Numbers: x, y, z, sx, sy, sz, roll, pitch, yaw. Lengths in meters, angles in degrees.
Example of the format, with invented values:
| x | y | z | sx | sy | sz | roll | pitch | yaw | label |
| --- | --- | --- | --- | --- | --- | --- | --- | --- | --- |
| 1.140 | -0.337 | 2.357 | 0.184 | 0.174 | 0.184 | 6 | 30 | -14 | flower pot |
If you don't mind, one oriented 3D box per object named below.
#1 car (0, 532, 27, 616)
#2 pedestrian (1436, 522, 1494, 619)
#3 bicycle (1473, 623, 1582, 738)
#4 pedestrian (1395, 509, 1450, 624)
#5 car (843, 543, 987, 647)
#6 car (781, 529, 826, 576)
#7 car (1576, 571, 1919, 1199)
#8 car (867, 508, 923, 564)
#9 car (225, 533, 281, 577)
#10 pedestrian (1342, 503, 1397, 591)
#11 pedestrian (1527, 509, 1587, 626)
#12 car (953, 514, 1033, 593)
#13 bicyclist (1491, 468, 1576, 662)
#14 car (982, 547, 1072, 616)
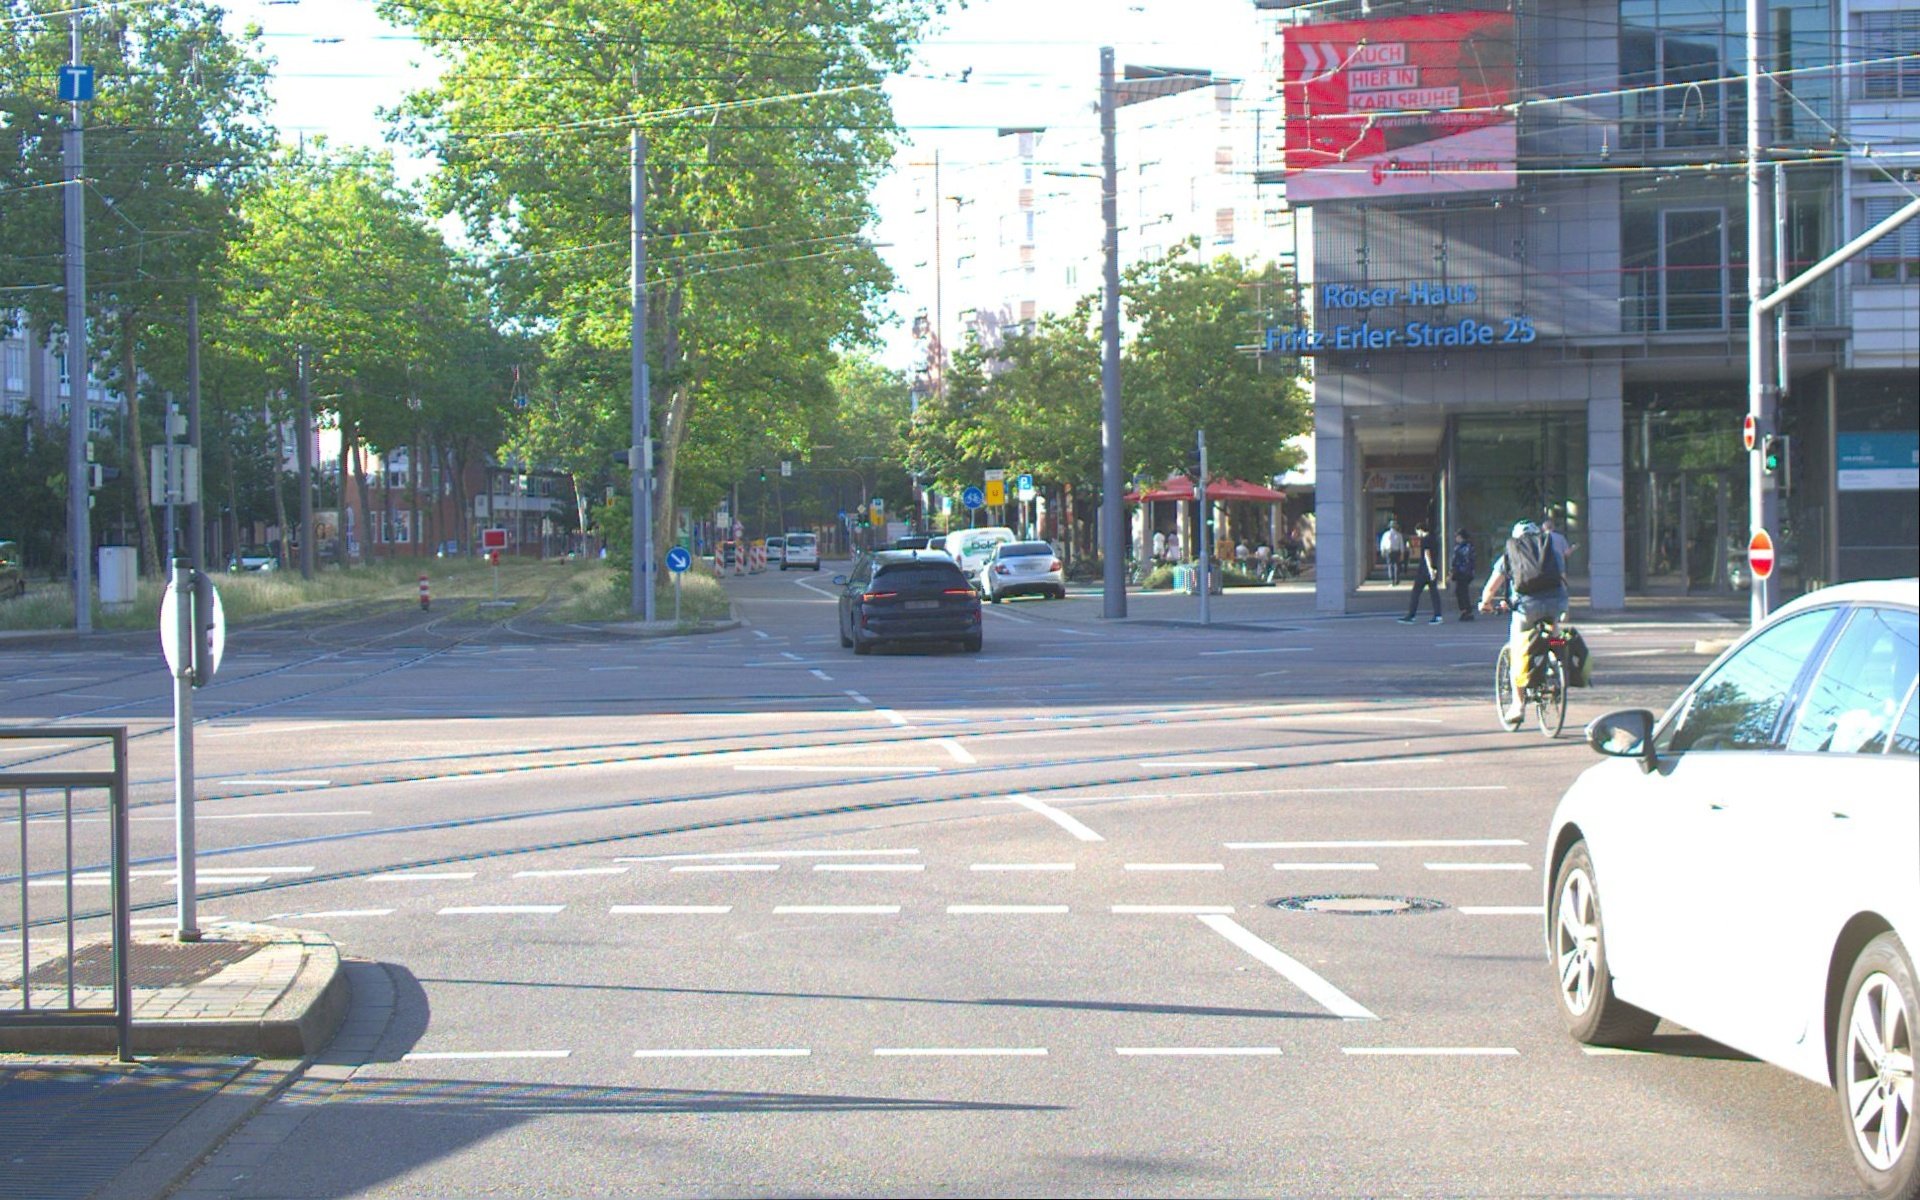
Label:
| x | y | z | sx | sy | sz | roll | pitch | yaw | label |
| --- | --- | --- | --- | --- | --- | --- | --- | --- | --- |
| -21.582 | -0.568 | 74.884 | 1.822 | 1.784 | 4.001 | -1 | 1 | -7 | car |
| 8.979 | -0.529 | 61.163 | 0.869 | 1.702 | 0.794 | 1 | 0 | -1 | pedestrian |
| 4.320 | 0.599 | 26.251 | 0.490 | 0.785 | 1.862 | 0 | 1 | -1 | bicycle |
| 8.189 | -0.597 | 60.907 | 0.849 | 2.007 | 0.708 | 1 | 0 | -1 | pedestrian |
| -0.677 | -0.105 | 48.621 | 1.763 | 1.399 | 4.297 | 0 | 1 | -4 | car |
| -7.749 | -2.343 | 170.309 | 1.993 | 2.007 | 3.999 | 1 | -3 | 1 | car |
| 2.802 | 0.662 | 8.981 | 1.748 | 1.413 | 4.000 | 0 | 1 | 1 | car |
| -2.386 | -2.357 | 126.914 | 1.993 | 2.007 | 4.000 | 1 | 1 | -1 | car |
| -26.089 | -1.661 | 126.955 | 1.676 | 1.601 | 4.001 | 1 | 1 | -6 | car |
| 10.270 | -1.320 | 86.209 | 1.313 | 2.182 | 1.170 | 1 | 0 | 6 | pedestrian |
| 10.408 | -0.565 | 59.978 | 0.869 | 2.007 | 0.794 | 1 | 0 | -1 | pedestrian |
| 0.837 | -1.204 | 89.687 | 1.993 | 2.007 | 4.000 | 1 | 1 | -1 | car |
| 4.328 | -0.267 | 25.979 | 0.486 | 1.434 | 0.615 | 2 | 1 | -1 | bicyclist |
| 1.592 | -0.457 | 82.768 | 2.029 | 1.590 | 4.000 | 1 | 1 | -1 | car |
